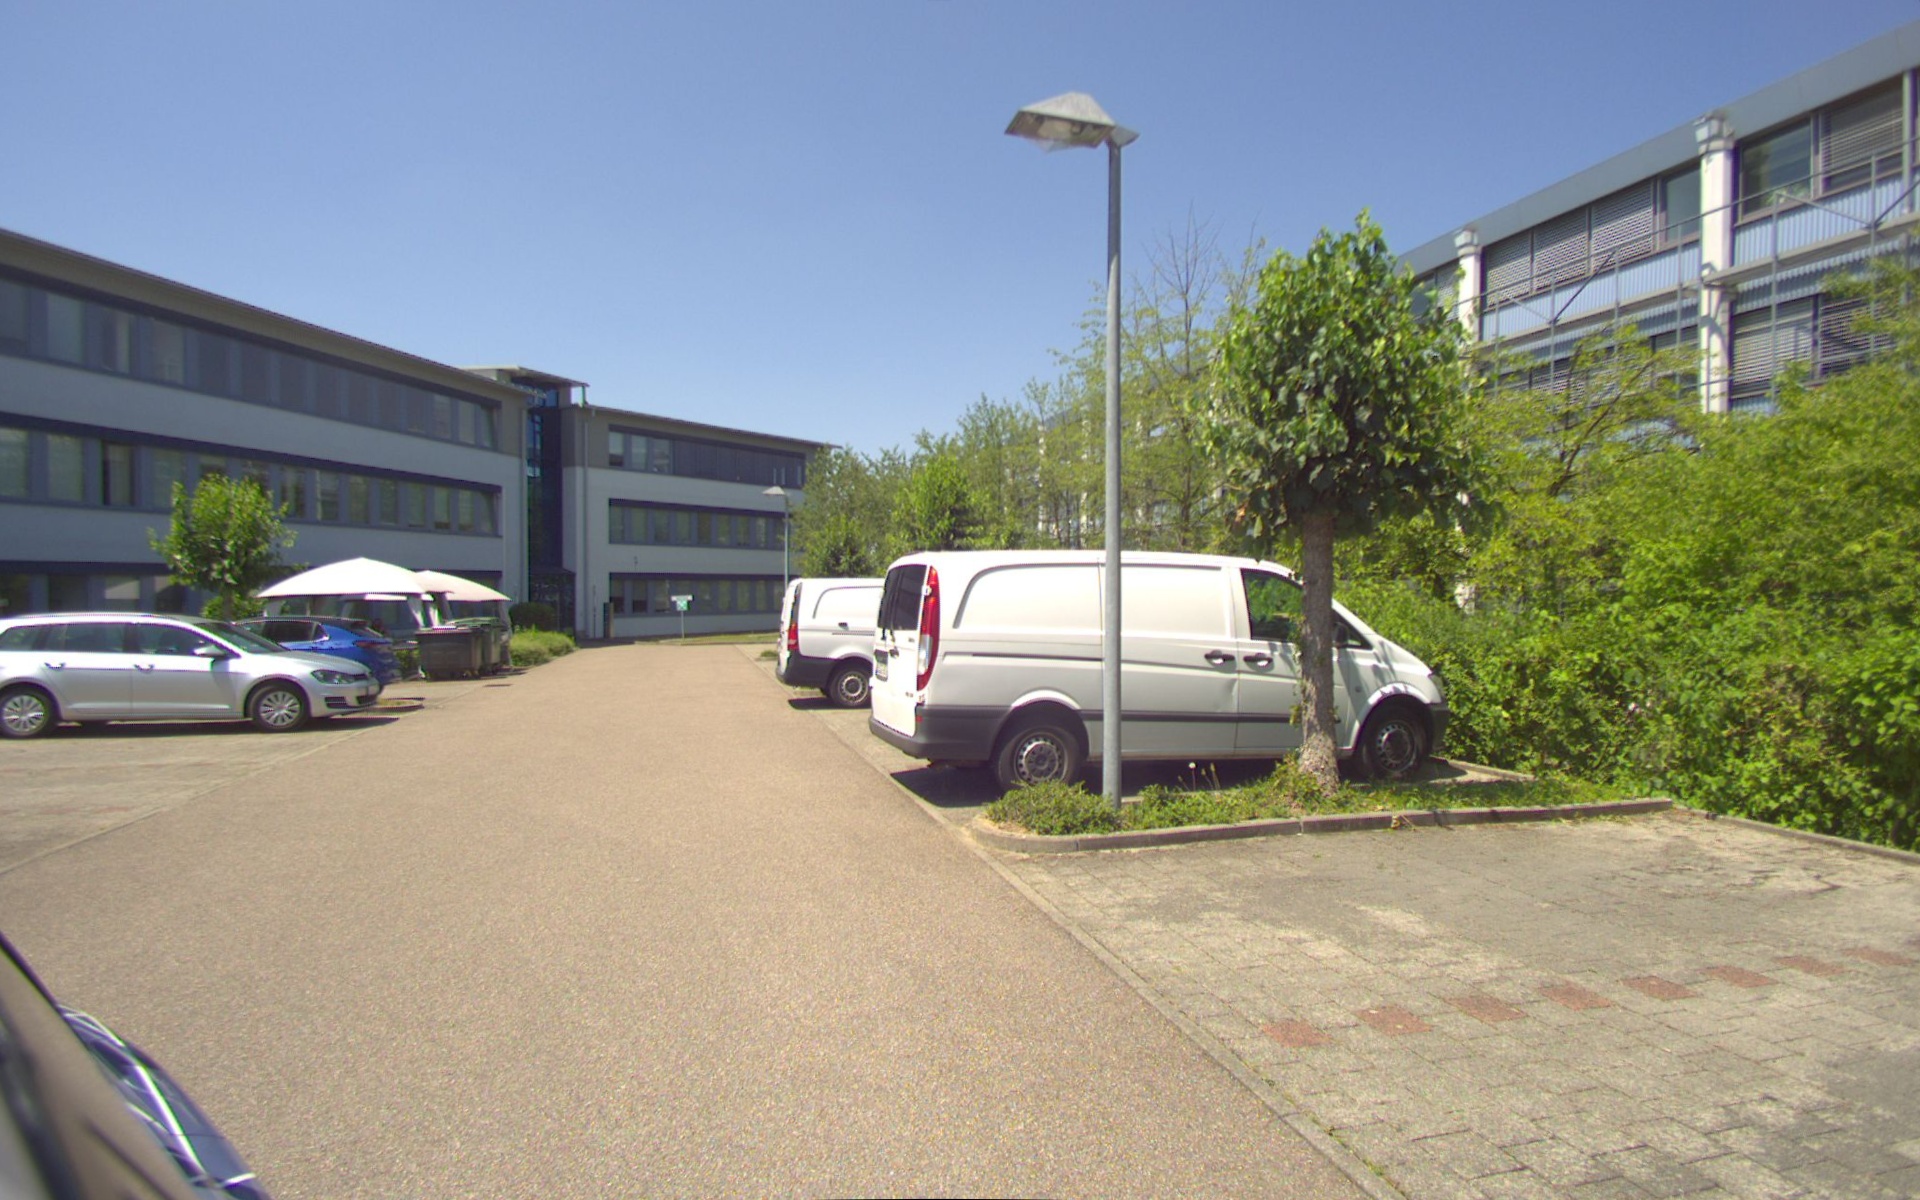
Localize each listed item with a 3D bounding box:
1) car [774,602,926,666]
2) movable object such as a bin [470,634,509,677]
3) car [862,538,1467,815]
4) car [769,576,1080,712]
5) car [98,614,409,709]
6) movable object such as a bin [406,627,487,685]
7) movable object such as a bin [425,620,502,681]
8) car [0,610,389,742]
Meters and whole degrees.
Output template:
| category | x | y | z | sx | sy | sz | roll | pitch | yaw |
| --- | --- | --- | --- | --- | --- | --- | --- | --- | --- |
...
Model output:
| category | x | y | z | sx | sy | sz | roll | pitch | yaw |
| --- | --- | --- | --- | --- | --- | --- | --- | --- | --- |
| car | -2.893 | 0.847 | 26.441 | 3.701 | 1.569 | 1.666 | 0 | -1 | -16 |
| movable object such as a bin | -11.105 | 1.304 | 23.897 | 0.680 | 0.956 | 0.724 | 0 | -1 | -10 |
| car | 1.654 | 0.523 | 8.537 | 4.655 | 1.920 | 1.835 | 0 | -1 | -16 |
| car | -0.588 | 0.605 | 15.535 | 4.443 | 1.896 | 1.835 | 0 | -1 | -16 |
| car | -11.171 | 0.958 | 16.299 | 3.762 | 1.402 | 1.657 | 1 | -1 | -16 |
| movable object such as a bin | -11.059 | 1.190 | 21.842 | 1.342 | 1.198 | 0.999 | 0 | -1 | -10 |
| movable object such as a bin | -11.230 | 1.129 | 22.934 | 1.342 | 1.306 | 1.045 | 0 | -1 | -10 |
| car | -9.969 | 0.898 | 12.837 | 4.443 | 1.508 | 1.835 | 1 | -1 | -16 |
